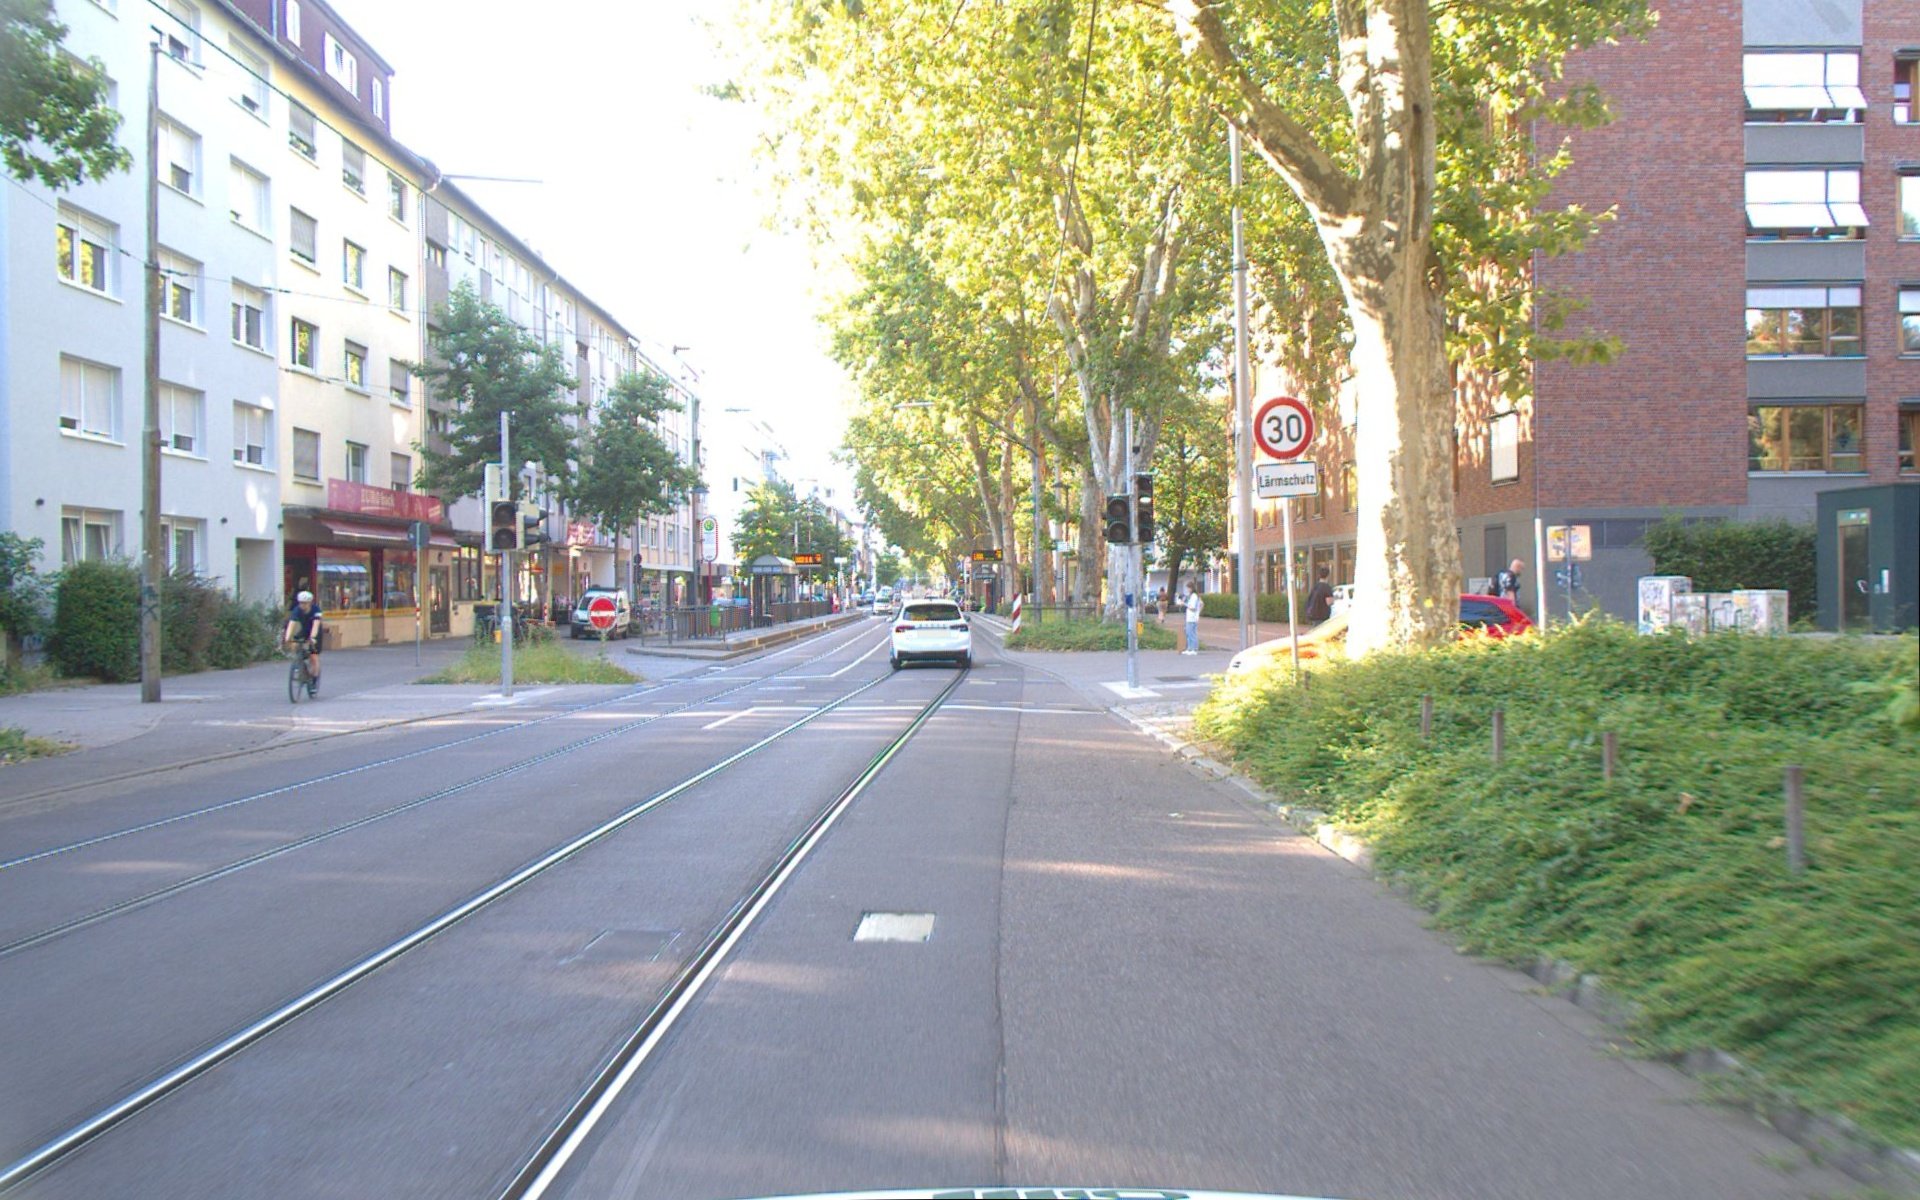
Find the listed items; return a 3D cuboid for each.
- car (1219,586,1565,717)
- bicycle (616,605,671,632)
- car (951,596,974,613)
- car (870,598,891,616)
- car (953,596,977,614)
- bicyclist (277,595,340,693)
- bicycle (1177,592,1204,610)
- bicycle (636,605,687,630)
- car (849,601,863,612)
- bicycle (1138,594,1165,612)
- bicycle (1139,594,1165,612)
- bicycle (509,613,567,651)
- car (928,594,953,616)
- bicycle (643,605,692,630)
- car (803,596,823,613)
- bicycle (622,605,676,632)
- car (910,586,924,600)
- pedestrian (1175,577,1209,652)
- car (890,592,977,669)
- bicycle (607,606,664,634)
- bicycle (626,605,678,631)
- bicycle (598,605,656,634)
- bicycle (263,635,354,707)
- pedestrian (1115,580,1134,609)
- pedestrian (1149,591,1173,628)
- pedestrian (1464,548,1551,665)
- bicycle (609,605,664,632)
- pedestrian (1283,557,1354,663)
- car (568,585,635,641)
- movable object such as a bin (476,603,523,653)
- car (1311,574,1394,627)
[{"bbox_3d":[5.209,0.607,20.290,3.804,1.448,1.649,-1,0,2],"label":"car"},{"bbox_3d":[-13.658,0.798,71.443,2.207,1.093,0.636,2,0,0],"label":"bicycle"},{"bbox_3d":[0.181,0.391,147.966,1.953,1.478,3.999,-1,0,-1],"label":"car"},{"bbox_3d":[-6.701,0.570,139.204,1.659,1.444,3.999,-1,0,-1],"label":"car"},{"bbox_3d":[0.459,0.392,142.885,1.953,1.478,3.999,-1,0,-1],"label":"car"},{"bbox_3d":[-10.192,0.678,25.909,0.628,1.480,0.837,-2,0,-2],"label":"bicyclist"},{"bbox_3d":[13.951,0.083,100.293,1.533,1.055,0.479,-1,0,20],"label":"bicycle"},{"bbox_3d":[-13.747,0.808,76.282,2.207,1.093,0.636,2,0,0],"label":"bicycle"},{"bbox_3d":[-14.861,0.905,236.178,1.752,1.540,3.999,-1,0,-1],"label":"car"},{"bbox_3d":[11.591,0.171,100.158,1.533,1.055,0.479,-1,0,20],"label":"bicycle"},{"bbox_3d":[11.738,0.168,101.076,1.533,1.055,0.504,-1,0,20],"label":"bicycle"},{"bbox_3d":[-12.808,0.971,50.233,1.503,1.094,0.885,2,0,-2],"label":"bicycle"},{"bbox_3d":[-1.440,0.351,121.008,1.752,1.540,3.999,-1,0,-1],"label":"car"},{"bbox_3d":[-13.838,0.803,78.288,2.207,1.093,0.636,2,0,0],"label":"bicycle"},{"bbox_3d":[-14.195,0.387,160.171,1.644,1.575,3.999,1,0,-1],"label":"car"},{"bbox_3d":[-13.674,0.797,72.706,2.207,1.093,0.636,2,0,0],"label":"bicycle"},{"bbox_3d":[-6.106,-0.953,235.189,1.828,1.925,3.999,-1,0,-1],"label":"car"},{"bbox_3d":[5.379,0.332,38.418,0.639,1.698,0.738,-1,0,-2],"label":"pedestrian"},{"bbox_3d":[-0.587,0.622,36.081,1.752,1.540,3.999,-1,0,-1],"label":"car"},{"bbox_3d":[-13.538,0.820,69.012,2.207,1.093,0.636,2,0,0],"label":"bicycle"},{"bbox_3d":[-13.856,0.798,74.449,2.207,1.093,0.636,2,0,0],"label":"bicycle"},{"bbox_3d":[-13.552,0.809,67.364,2.207,1.093,0.636,2,0,0],"label":"bicycle"},{"bbox_3d":[-10.171,1.095,25.900,0.628,1.004,2.100,-2,0,-2],"label":"bicycle"},{"bbox_3d":[9.353,-0.307,93.939,0.952,1.652,0.887,-1,0,-1],"label":"pedestrian"},{"bbox_3d":[9.388,0.439,77.188,0.952,1.652,0.887,-1,0,-1],"label":"pedestrian"},{"bbox_3d":[9.419,0.111,28.494,0.964,1.896,1.014,-5,0,-6],"label":"pedestrian"},{"bbox_3d":[-13.827,0.783,70.766,2.207,1.093,0.636,2,0,0],"label":"bicycle"},{"bbox_3d":[6.437,0.171,29.733,0.975,1.842,0.863,-2,0,-7],"label":"pedestrian"},{"bbox_3d":[-13.273,0.455,61.391,1.654,1.974,3.999,-1,0,-1],"label":"car"},{"bbox_3d":[-13.407,0.810,48.147,1.147,1.372,0.782,2,0,-5],"label":"movable object such as a bin"},{"bbox_3d":[11.876,0.014,50.259,1.568,1.521,3.415,-1,0,-3],"label":"car"}]
